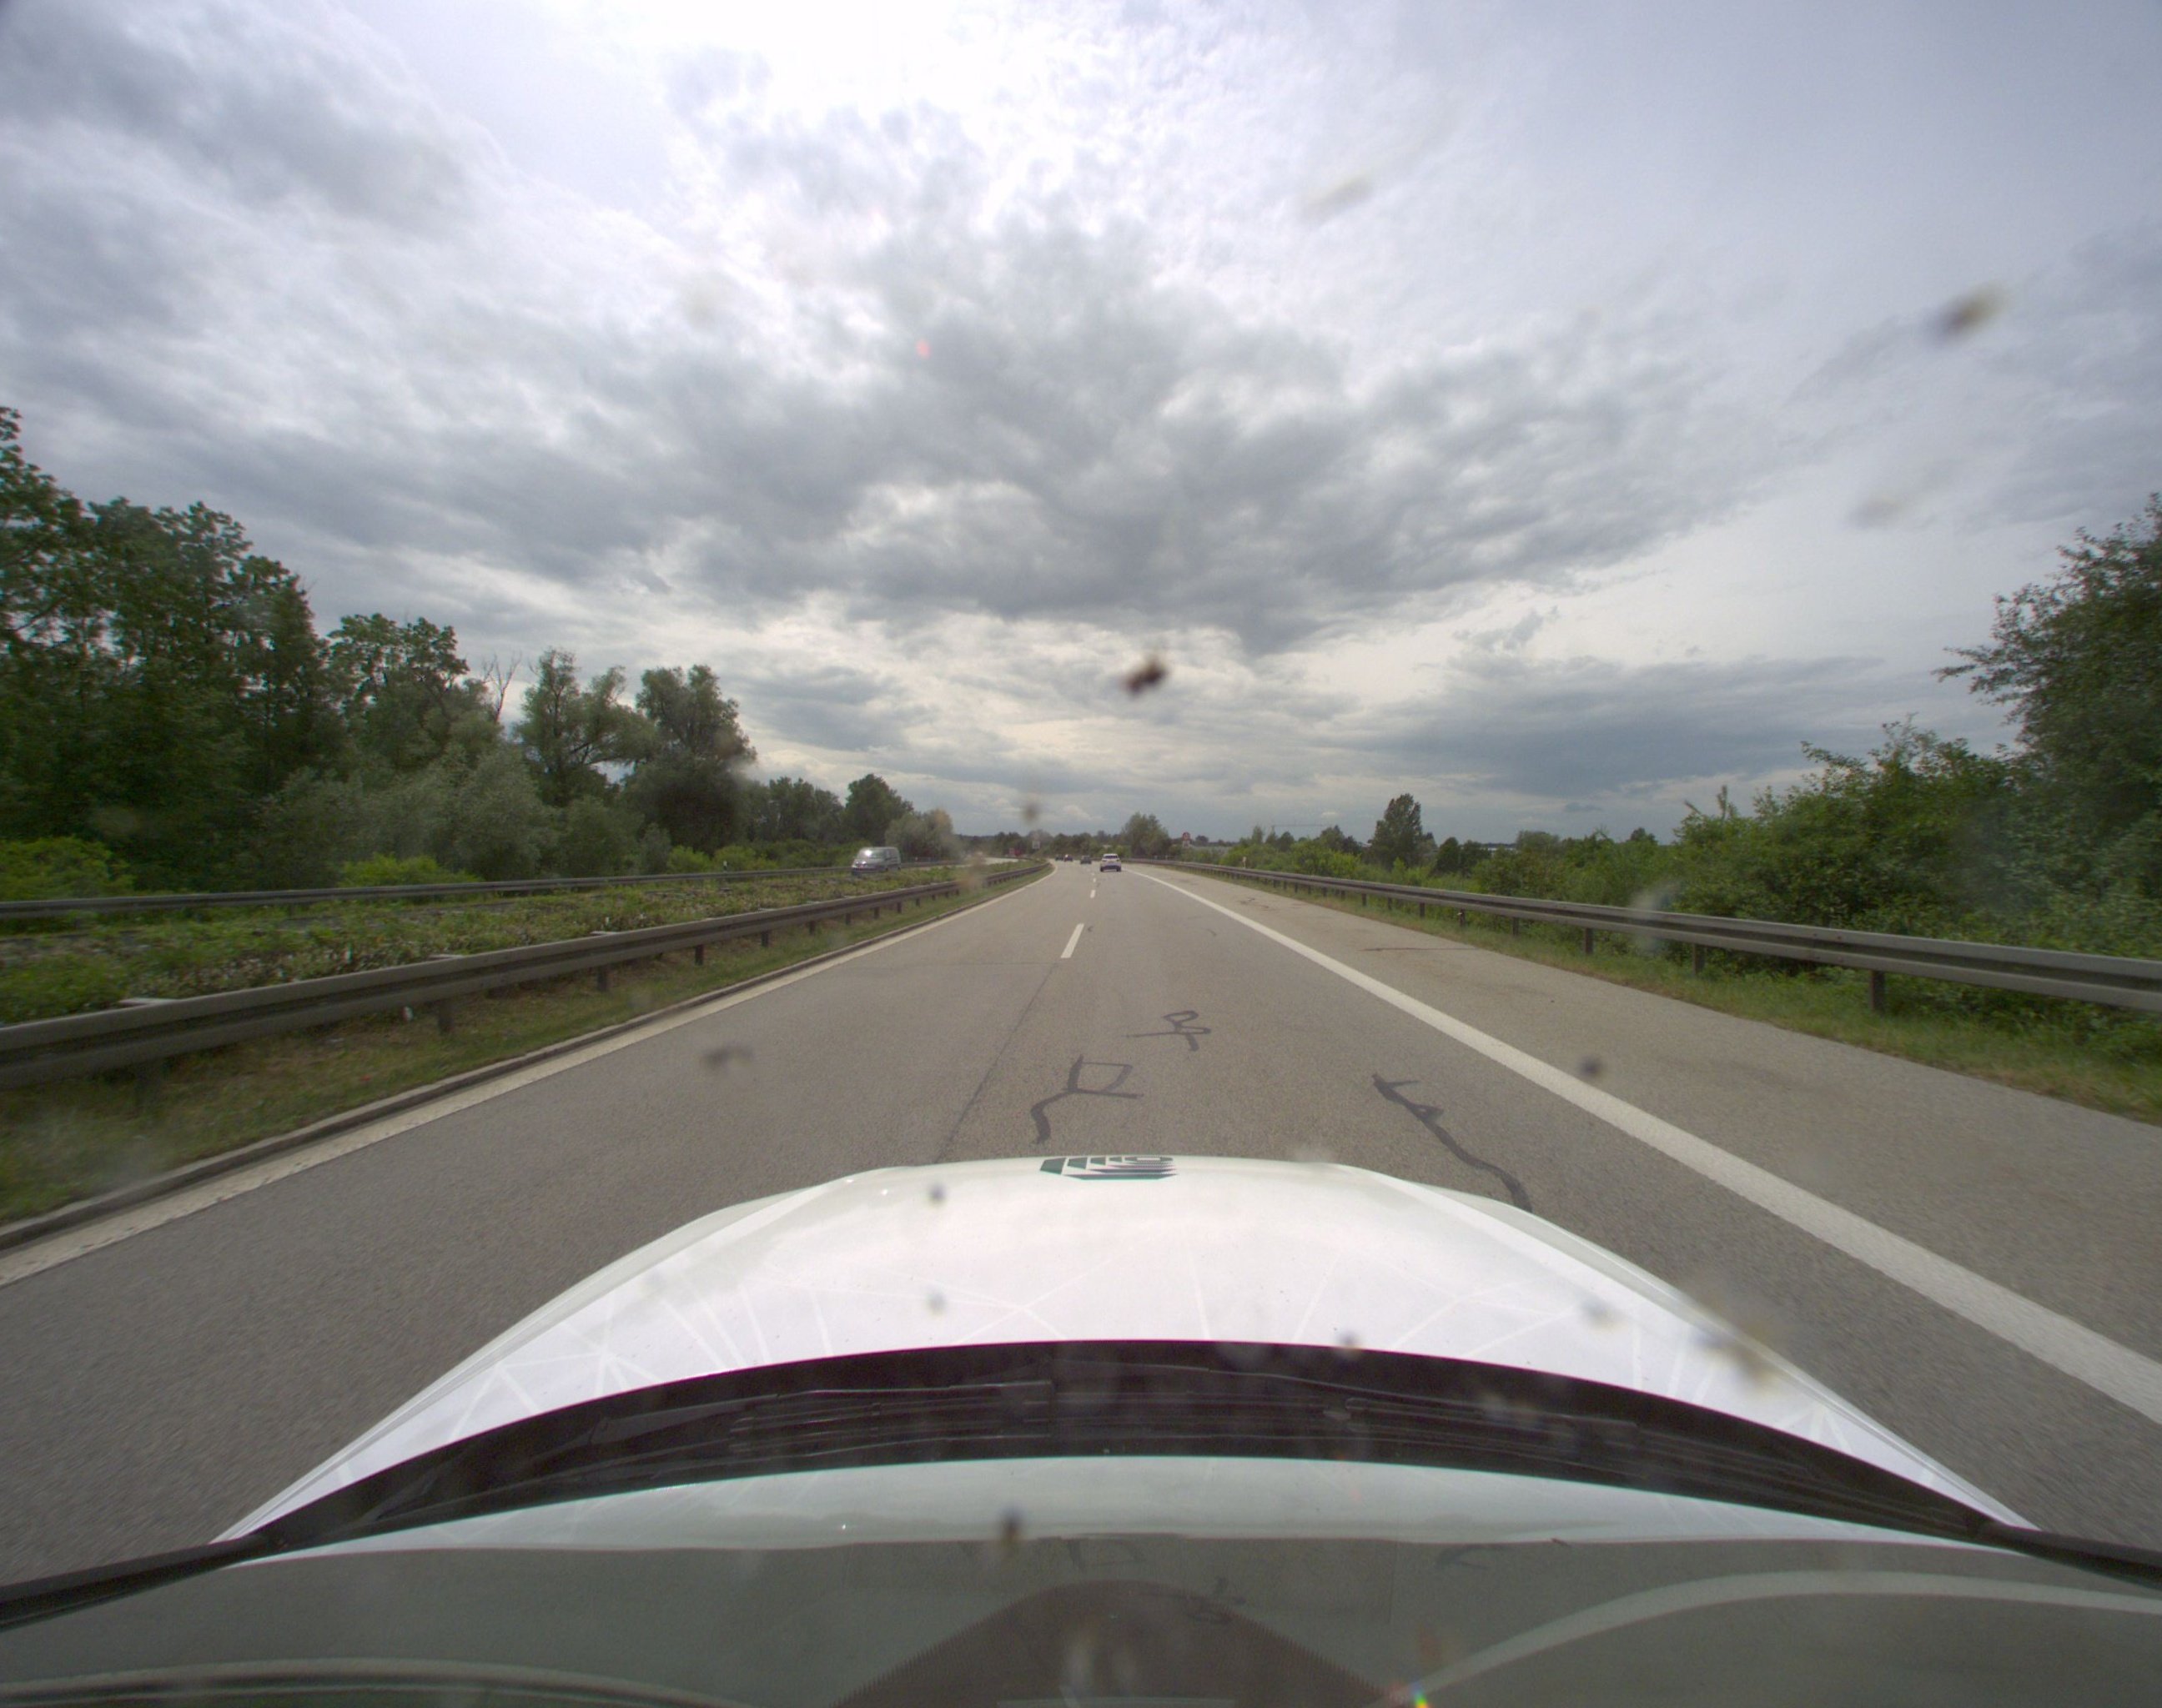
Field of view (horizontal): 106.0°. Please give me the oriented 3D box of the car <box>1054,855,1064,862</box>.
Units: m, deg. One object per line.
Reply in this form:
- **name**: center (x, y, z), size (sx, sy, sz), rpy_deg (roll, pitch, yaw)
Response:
- **car**: center (-5.604, 1.096, 206.897), size (1.826, 1.794, 4.400), rpy_deg (-1, 0, -9)

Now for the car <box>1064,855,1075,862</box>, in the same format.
- **car**: center (-2.592, 0.996, 180.496), size (1.900, 1.640, 4.768), rpy_deg (0, 0, -7)

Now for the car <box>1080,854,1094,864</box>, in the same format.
- **car**: center (1.009, 0.803, 136.550), size (1.890, 1.640, 4.612), rpy_deg (-1, 0, -6)

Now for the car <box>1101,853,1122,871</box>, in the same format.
- **car**: center (2.832, 0.705, 76.635), size (1.895, 1.640, 4.397), rpy_deg (0, 0, 1)

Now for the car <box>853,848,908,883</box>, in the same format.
- **car**: center (-11.658, 0.642, 47.677), size (1.694, 1.884, 5.231), rpy_deg (0, 0, 2)
